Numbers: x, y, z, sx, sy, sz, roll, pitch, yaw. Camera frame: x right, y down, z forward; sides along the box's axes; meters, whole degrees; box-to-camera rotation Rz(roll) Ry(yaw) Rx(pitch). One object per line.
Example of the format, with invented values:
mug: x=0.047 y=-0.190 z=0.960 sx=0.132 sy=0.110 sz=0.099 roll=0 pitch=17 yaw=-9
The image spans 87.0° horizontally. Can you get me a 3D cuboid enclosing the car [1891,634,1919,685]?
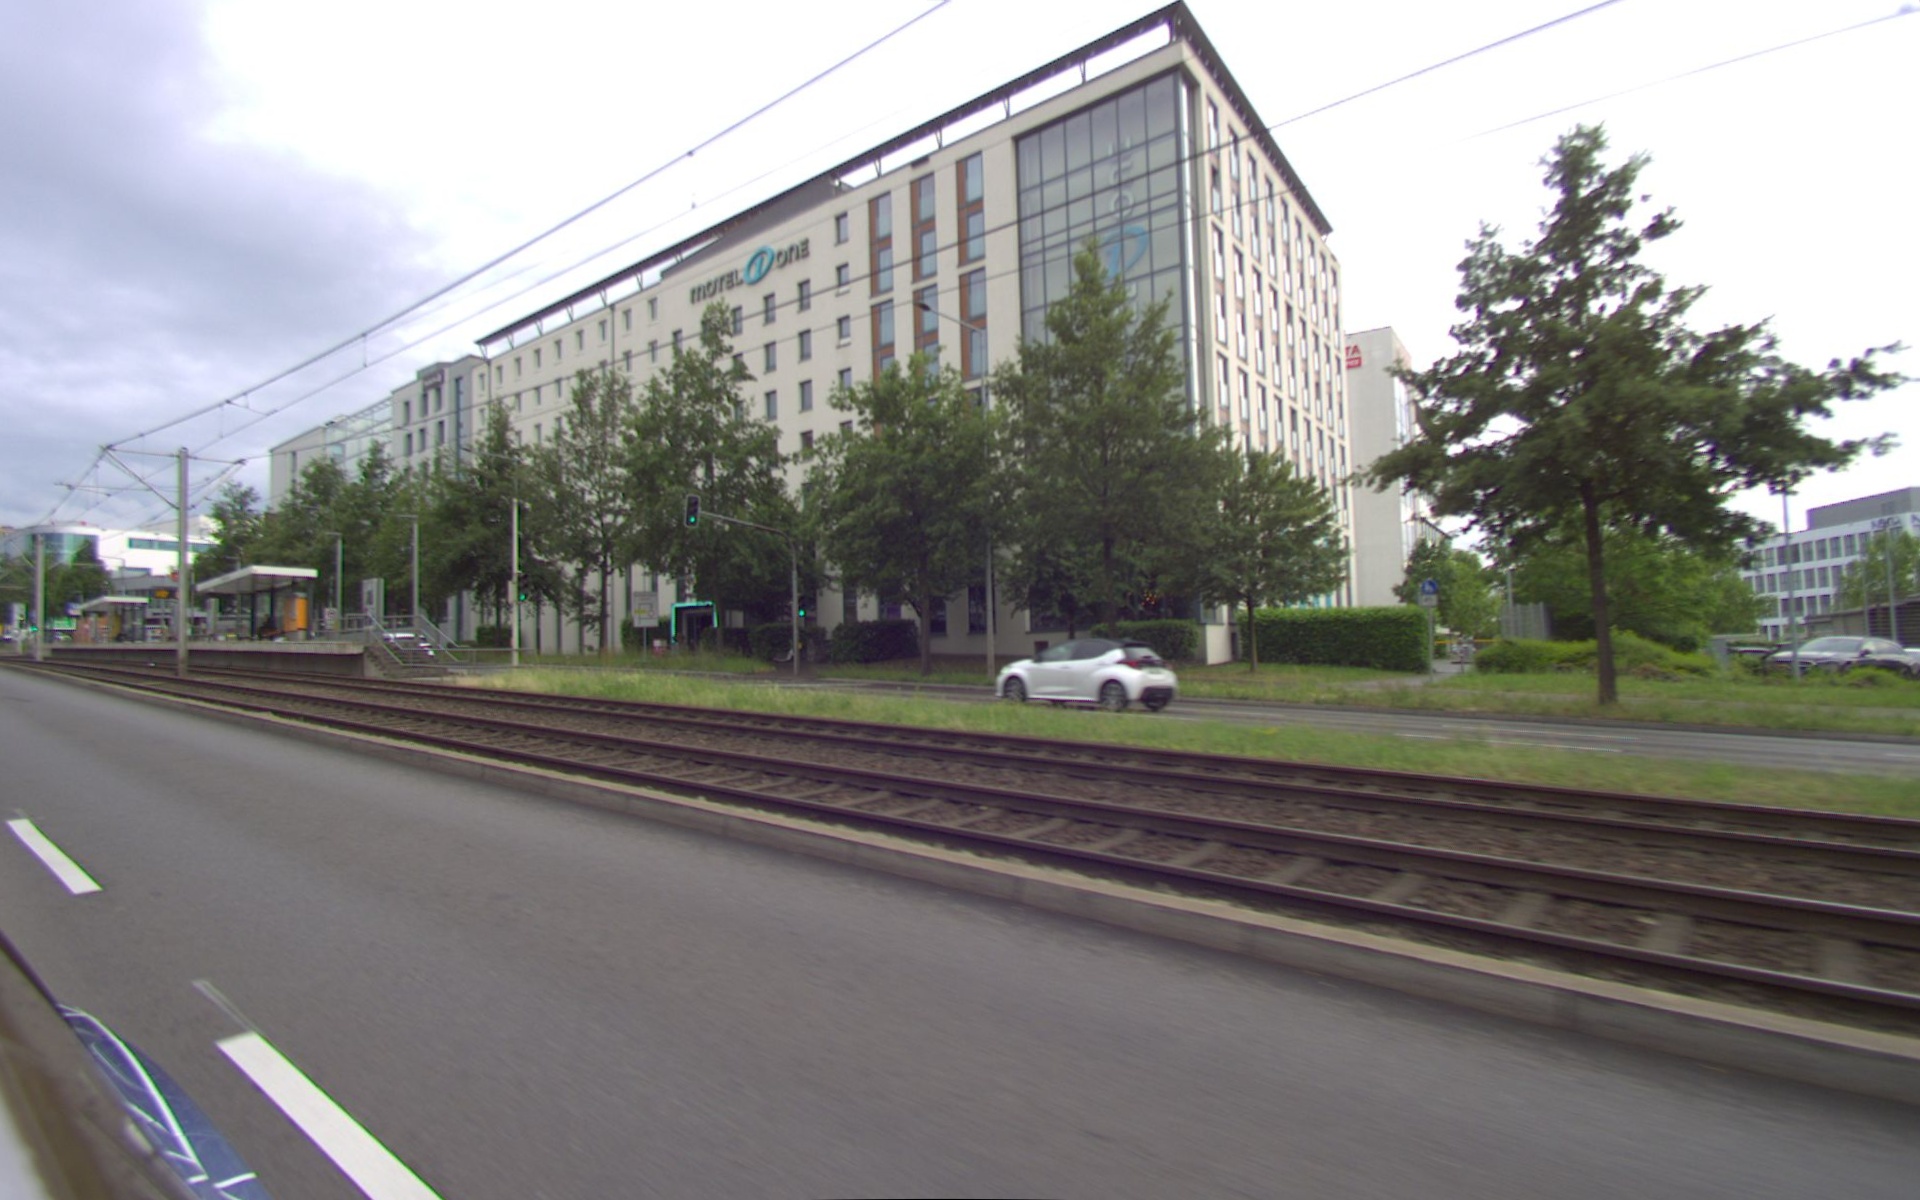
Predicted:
car: x=29.662 y=1.720 z=29.675 sx=3.931 sy=1.401 sz=1.809 roll=-1 pitch=0 yaw=-19

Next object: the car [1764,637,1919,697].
car: x=24.230 y=1.783 z=27.372 sx=3.933 sy=1.401 sz=1.808 roll=-1 pitch=0 yaw=-14

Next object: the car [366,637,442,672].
car: x=-23.090 y=2.250 z=41.968 sx=3.561 sy=1.375 sz=1.679 roll=-2 pitch=-5 yaw=43

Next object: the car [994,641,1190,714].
car: x=2.703 y=1.582 z=21.197 sx=3.816 sy=1.375 sz=1.679 roll=-2 pitch=-5 yaw=43
